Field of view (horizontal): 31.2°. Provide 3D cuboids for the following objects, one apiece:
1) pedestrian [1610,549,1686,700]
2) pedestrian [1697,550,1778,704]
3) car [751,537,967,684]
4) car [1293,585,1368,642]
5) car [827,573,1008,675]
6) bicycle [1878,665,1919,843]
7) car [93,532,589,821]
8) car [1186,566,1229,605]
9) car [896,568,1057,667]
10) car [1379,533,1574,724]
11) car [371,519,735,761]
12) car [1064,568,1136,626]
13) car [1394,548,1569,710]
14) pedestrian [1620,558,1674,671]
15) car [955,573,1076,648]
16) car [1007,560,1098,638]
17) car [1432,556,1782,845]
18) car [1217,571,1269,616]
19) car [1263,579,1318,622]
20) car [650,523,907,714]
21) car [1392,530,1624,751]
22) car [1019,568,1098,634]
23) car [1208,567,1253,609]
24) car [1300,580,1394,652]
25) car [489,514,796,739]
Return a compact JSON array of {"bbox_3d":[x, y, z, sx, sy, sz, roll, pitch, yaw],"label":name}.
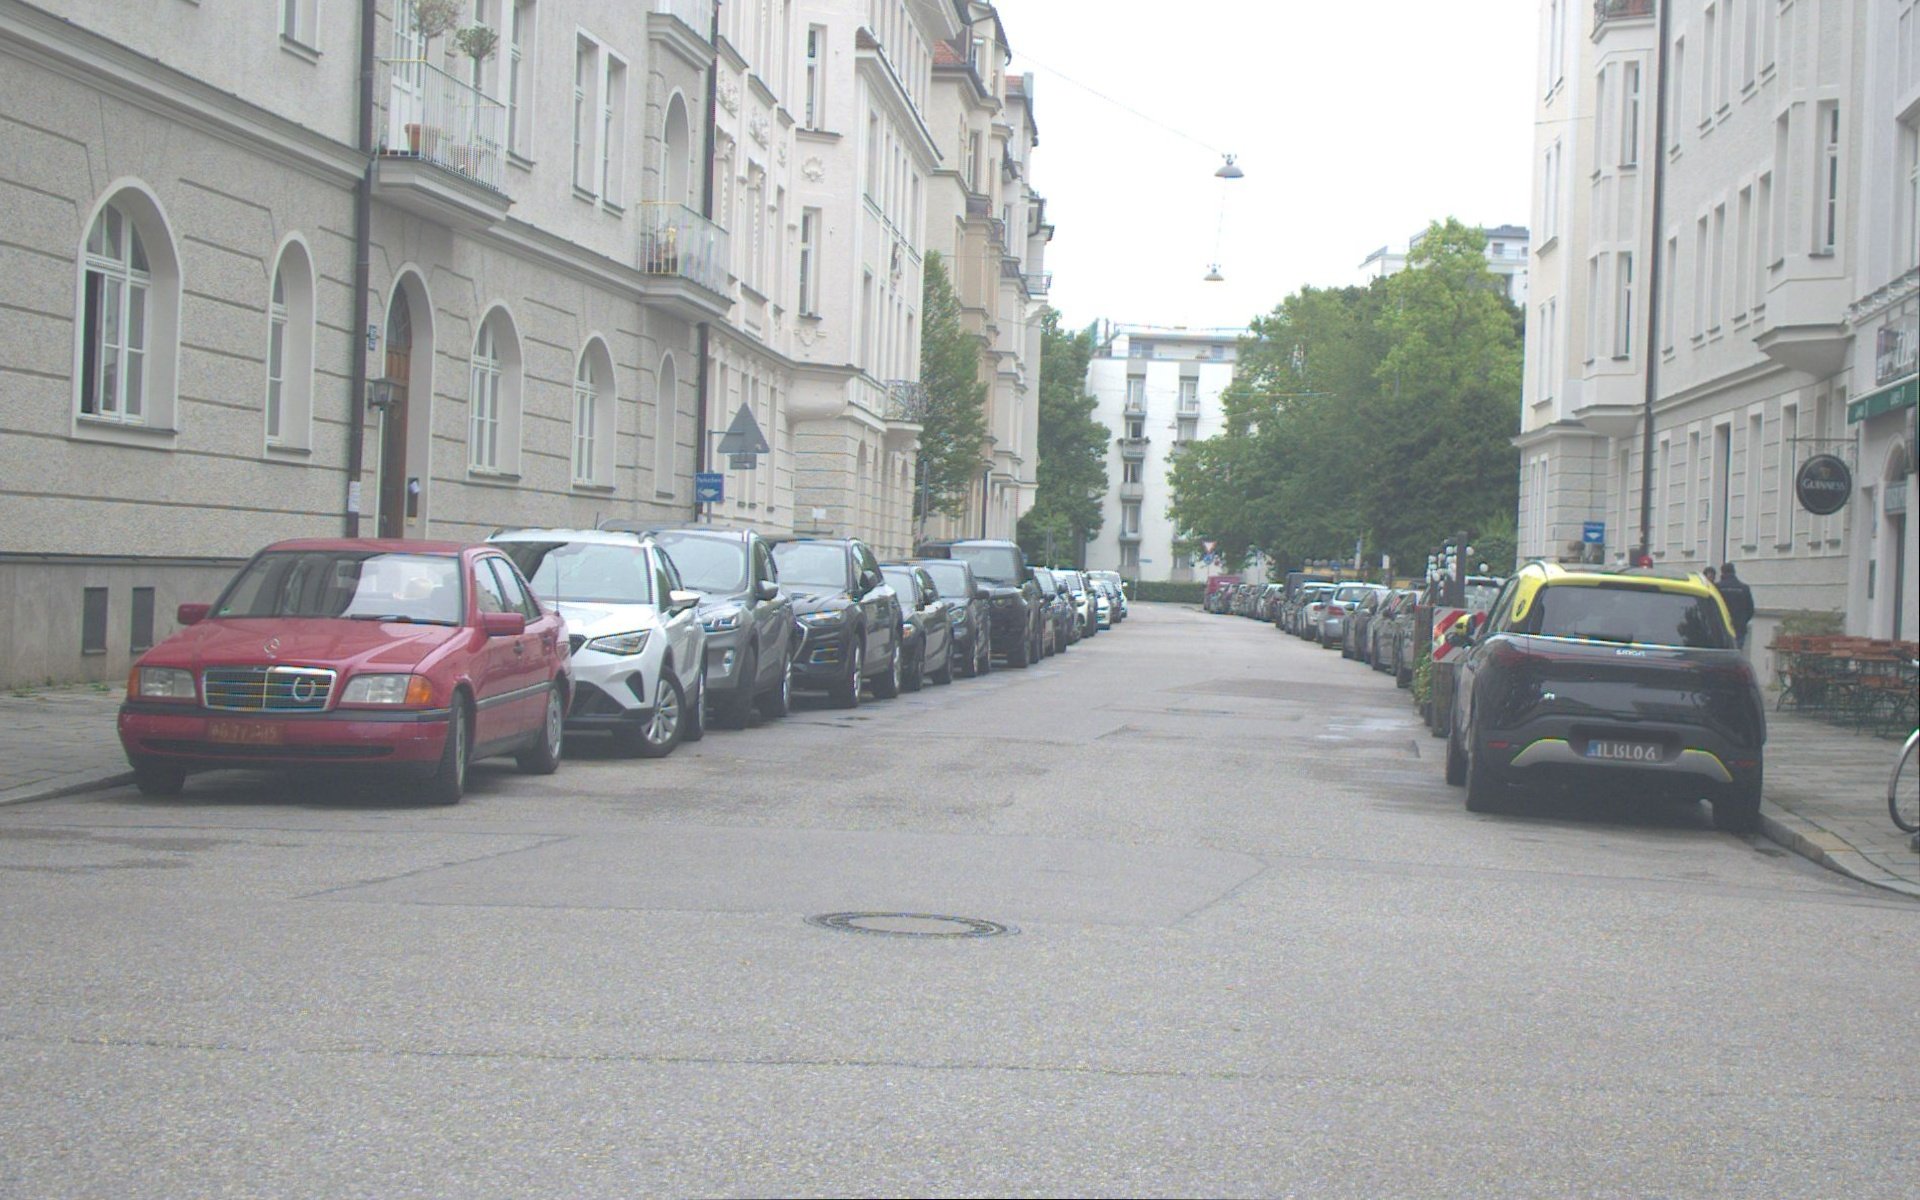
[{"bbox_3d":[8.631,0.300,43.161,0.778,1.845,1.022,2,1,6],"label":"pedestrian"},{"bbox_3d":[9.617,0.325,42.555,0.778,1.845,1.022,2,1,6],"label":"pedestrian"},{"bbox_3d":[-1.123,0.088,40.203,1.926,1.541,3.999,3,1,6],"label":"car"},{"bbox_3d":[9.872,0.342,91.833,1.730,1.413,3.852,3,1,3],"label":"car"},{"bbox_3d":[-0.524,0.290,46.083,1.907,1.218,3.999,3,1,6],"label":"car"},{"bbox_3d":[5.898,0.902,19.351,0.539,0.995,1.756,-1,2,-18],"label":"bicycle"},{"bbox_3d":[-3.338,0.360,19.349,1.731,1.373,4.226,3,1,4],"label":"car"},{"bbox_3d":[13.453,-0.786,187.089,1.994,1.975,4.893,3,1,2],"label":"car"},{"bbox_3d":[0.287,0.228,50.647,1.907,1.324,3.999,3,1,6],"label":"car"},{"bbox_3d":[5.807,0.289,39.039,1.820,1.917,4.182,5,1,5],"label":"car"},{"bbox_3d":[-2.751,0.227,24.182,1.993,1.468,4.219,2,1,0],"label":"car"},{"bbox_3d":[4.127,-0.094,100.890,1.994,1.568,4.000,3,1,3],"label":"car"},{"bbox_3d":[6.544,0.329,43.479,1.994,1.850,4.344,3,1,7],"label":"car"},{"bbox_3d":[11.485,0.234,57.444,0.778,1.845,0.859,3,1,13],"label":"pedestrian"},{"bbox_3d":[1.045,0.164,62.423,1.907,1.218,3.999,3,1,4],"label":"car"},{"bbox_3d":[2.013,-0.045,73.959,1.820,1.568,4.000,3,1,3],"label":"car"},{"bbox_3d":[4.257,0.595,23.228,1.820,1.630,4.288,5,1,5],"label":"car"},{"bbox_3d":[12.096,-0.300,147.199,1.994,1.783,4.065,3,1,3],"label":"car"},{"bbox_3d":[13.142,0.018,136.877,1.950,1.646,4.000,1,0,3],"label":"car"},{"bbox_3d":[-1.706,0.149,33.784,1.994,1.670,4.288,3,1,3],"label":"car"},{"bbox_3d":[5.250,0.349,33.429,1.820,1.864,4.288,5,1,5],"label":"car"},{"bbox_3d":[2.315,0.004,79.914,1.734,1.415,4.000,3,1,2],"label":"car"},{"bbox_3d":[13.850,-0.620,176.323,1.994,1.975,4.893,3,1,2],"label":"car"},{"bbox_3d":[9.110,0.354,81.131,1.907,1.571,4.000,3,1,3],"label":"car"},{"bbox_3d":[-2.570,0.181,28.758,1.994,1.670,4.012,3,1,2],"label":"car"}]
